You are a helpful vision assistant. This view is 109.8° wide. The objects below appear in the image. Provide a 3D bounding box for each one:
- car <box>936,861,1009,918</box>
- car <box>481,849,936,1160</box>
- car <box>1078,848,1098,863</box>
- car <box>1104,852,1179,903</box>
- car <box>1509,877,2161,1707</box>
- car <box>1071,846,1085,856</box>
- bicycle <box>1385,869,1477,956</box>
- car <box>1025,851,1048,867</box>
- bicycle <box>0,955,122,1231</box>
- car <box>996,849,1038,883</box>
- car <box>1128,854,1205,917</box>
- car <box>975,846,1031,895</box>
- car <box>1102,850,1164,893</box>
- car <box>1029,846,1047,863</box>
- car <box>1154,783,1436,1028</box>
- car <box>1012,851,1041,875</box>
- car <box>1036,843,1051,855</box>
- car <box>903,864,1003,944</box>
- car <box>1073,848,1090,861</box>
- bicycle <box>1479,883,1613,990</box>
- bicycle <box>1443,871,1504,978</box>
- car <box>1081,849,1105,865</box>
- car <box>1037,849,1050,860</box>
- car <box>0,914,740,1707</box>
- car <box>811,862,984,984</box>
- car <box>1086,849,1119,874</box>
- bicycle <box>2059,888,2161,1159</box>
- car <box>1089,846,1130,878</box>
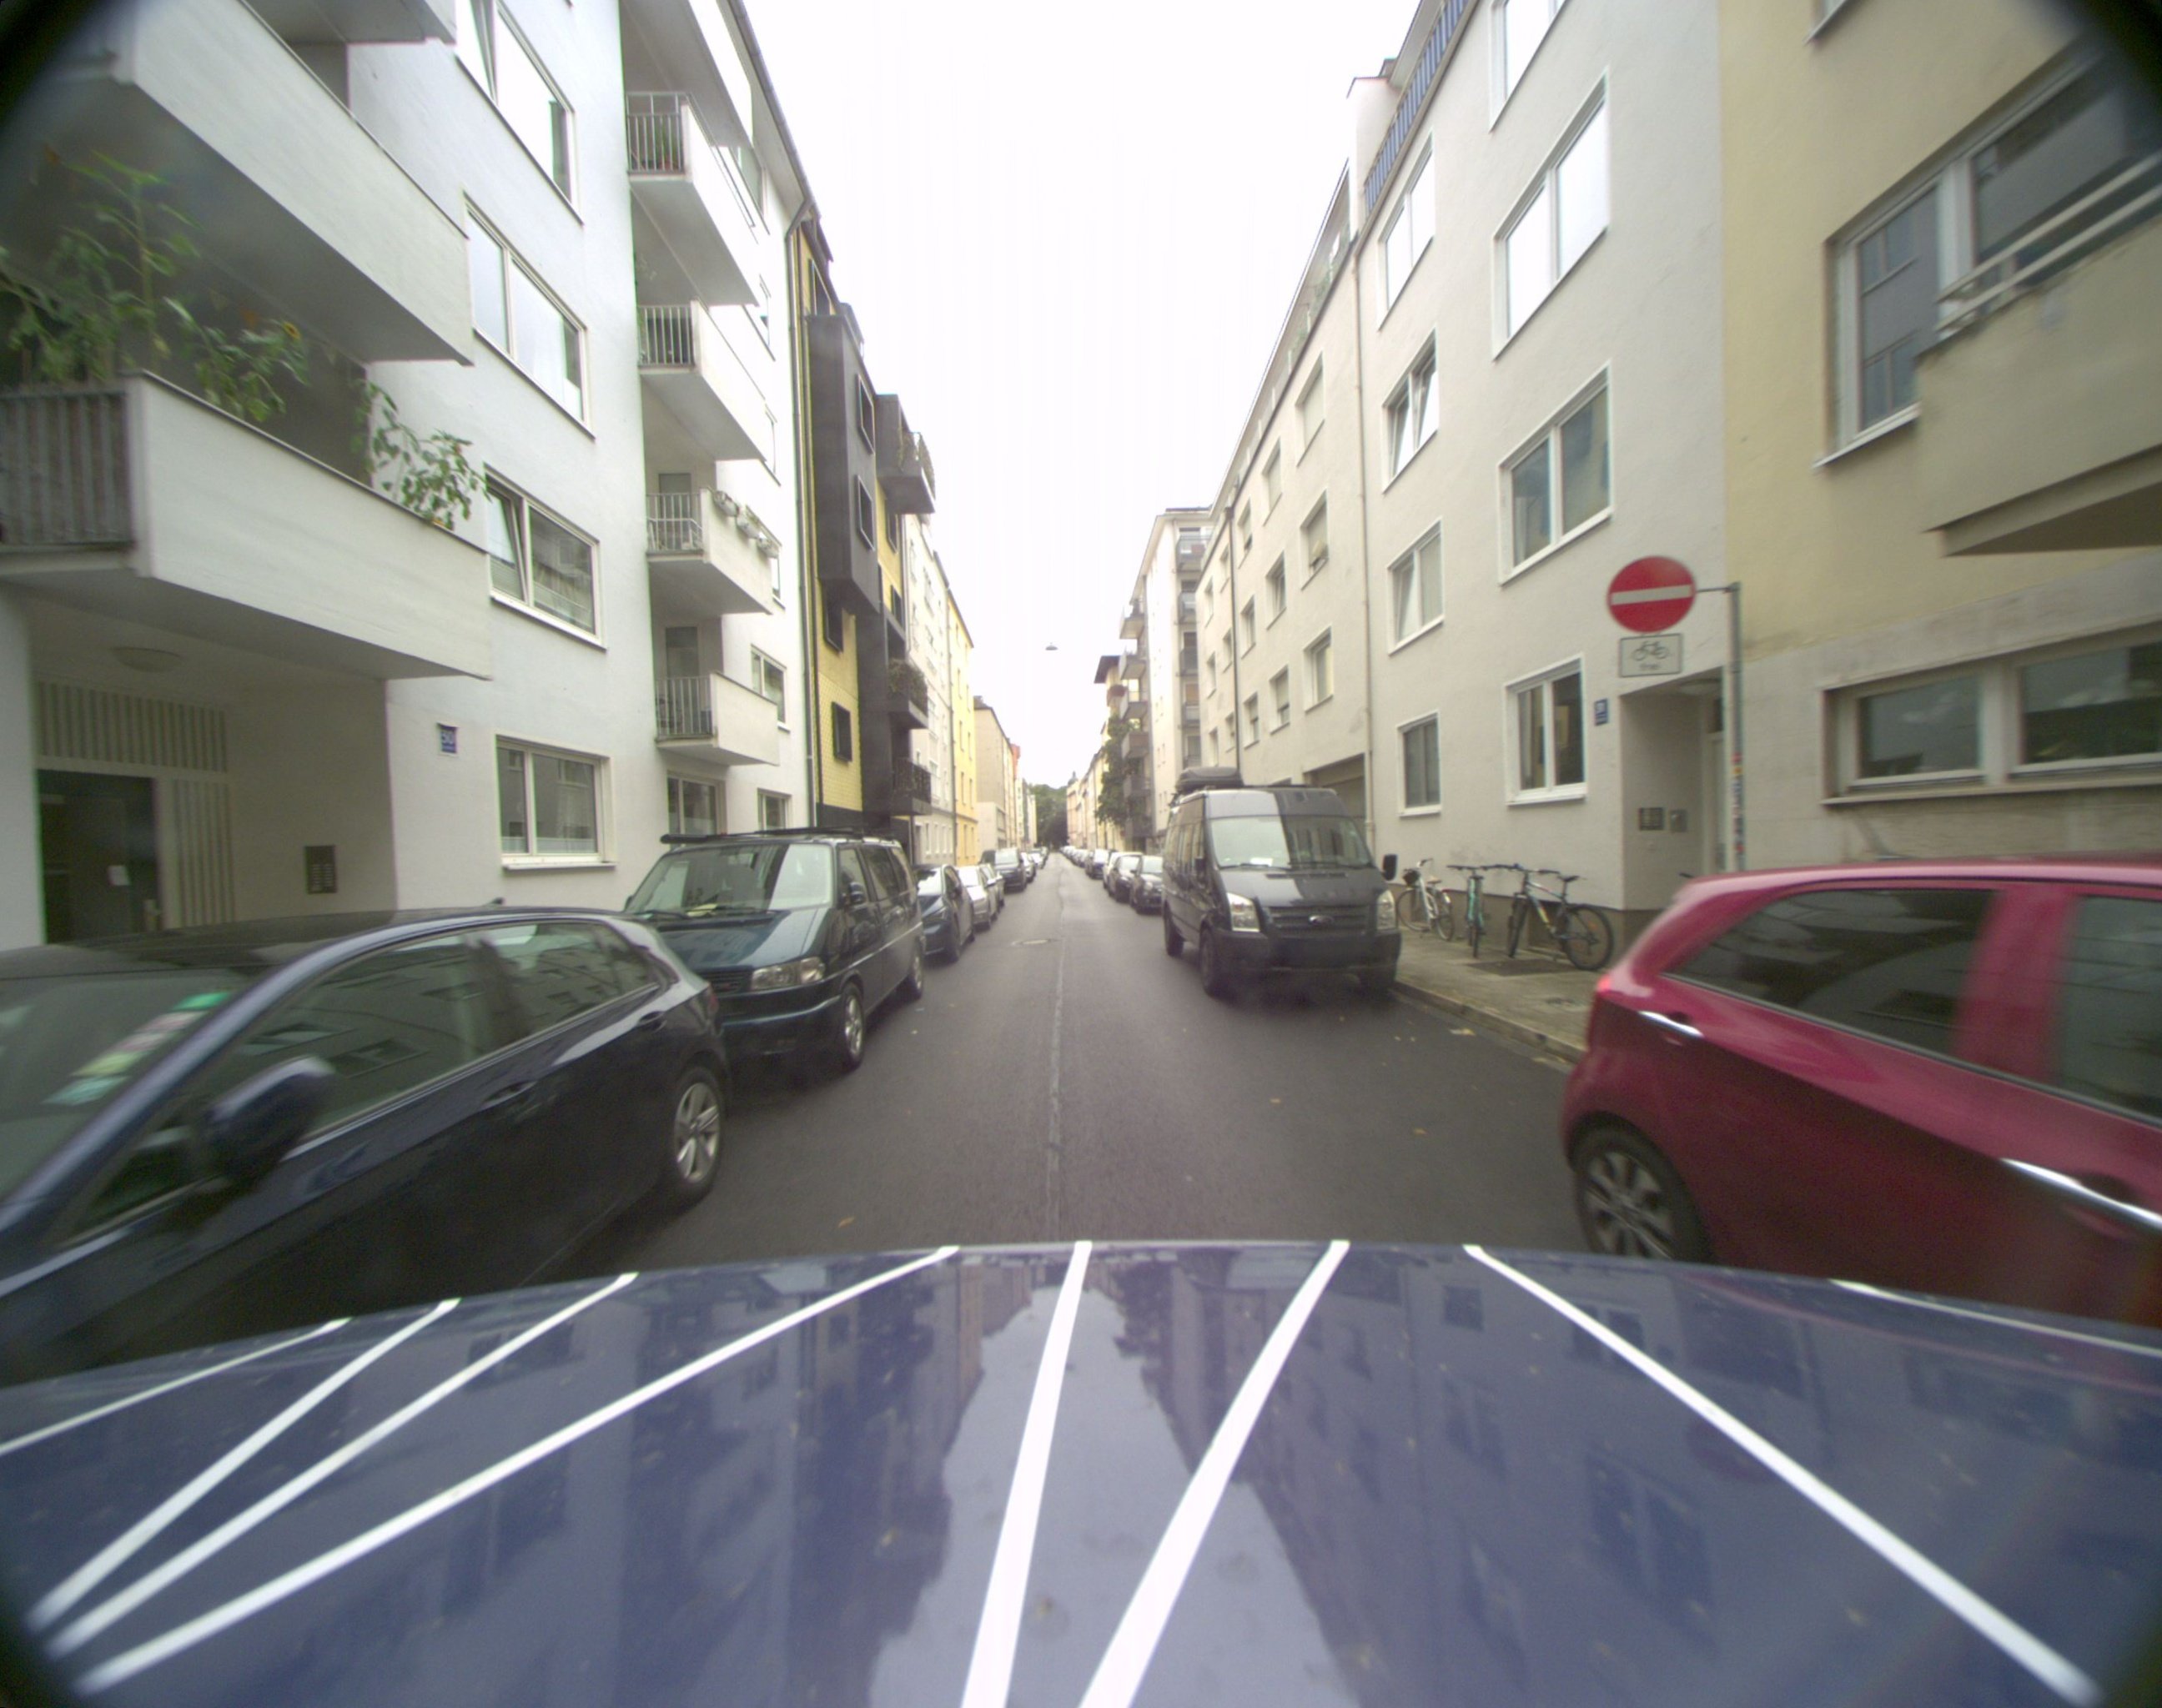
[{"bbox_3d":[-3.173,0.998,22.998,1.739,1.421,4.201,-2,1,-3],"label":"car"},{"bbox_3d":[-2.697,0.892,6.997,1.879,1.781,4.780,-2,1,-2],"label":"car"},{"bbox_3d":[0.672,0.105,79.135,1.896,1.444,4.295,-2,1,-2],"label":"car"},{"bbox_3d":[1.873,0.685,24.764,1.806,1.409,4.224,-2,1,-3],"label":"car"},{"bbox_3d":[2.577,0.878,1.164,1.624,1.488,3.707,-2,1,-2],"label":"car"},{"bbox_3d":[-0.463,-0.455,112.951,1.896,1.444,4.295,-2,1,-2],"label":"car"},{"bbox_3d":[5.102,0.810,11.199,0.464,1.091,1.870,-3,1,0],"label":"bicycle"},{"bbox_3d":[-4.159,0.448,71.480,1.972,1.369,4.295,-2,1,-2],"label":"car"},{"bbox_3d":[-5.279,1.150,2.821,0.625,1.212,2.247,-3,0,-4],"label":"bicycle"},{"bbox_3d":[-3.438,0.604,41.495,1.967,1.665,4.539,-2,1,-2],"label":"car"},{"bbox_3d":[2.175,0.766,20.193,1.615,1.438,3.742,0,1,0],"label":"car"},{"bbox_3d":[-3.355,0.646,33.764,1.988,1.828,5.182,-4,1,-2],"label":"car"},{"bbox_3d":[1.950,0.613,29.861,1.917,1.429,4.807,-2,1,-2],"label":"car"},{"bbox_3d":[-4.894,0.052,86.471,1.896,1.859,4.294,-2,1,-2],"label":"car"},{"bbox_3d":[2.250,0.437,9.749,2.023,2.266,5.389,0,1,-1],"label":"car"},{"bbox_3d":[-3.677,0.564,51.781,1.691,1.496,3.855,-2,1,-2],"label":"car"},{"bbox_3d":[-5.357,-0.759,109.138,1.896,1.621,4.295,-2,1,-2],"label":"car"},{"bbox_3d":[-2.912,1.075,18.171,1.764,1.423,4.259,-5,1,-3],"label":"car"},{"bbox_3d":[0.047,0.038,96.791,1.896,1.444,4.295,-2,1,-2],"label":"car"},{"bbox_3d":[5.071,0.857,8.402,0.490,0.978,1.591,-3,1,0],"label":"bicycle"},{"bbox_3d":[4.772,0.802,9.315,0.463,1.091,1.872,-2,1,22],"label":"bicycle"},{"bbox_3d":[1.037,0.245,68.181,1.972,1.369,4.295,-2,1,-2],"label":"car"},{"bbox_3d":[-5.737,0.056,117.791,1.896,1.621,4.295,-2,1,-2],"label":"car"},{"bbox_3d":[-2.613,1.059,1.820,1.838,1.411,4.057,-2,1,-2],"label":"car"},{"bbox_3d":[-2.892,1.006,13.085,1.911,1.545,4.623,-2,1,-2],"label":"car"},{"bbox_3d":[1.327,0.451,48.939,1.818,1.434,4.295,-2,1,-2],"label":"car"},{"bbox_3d":[4.911,0.748,2.738,0.468,1.142,1.760,-3,1,0],"label":"bicycle"},{"bbox_3d":[1.548,0.419,42.946,1.972,1.598,4.538,-2,1,-2],"label":"car"}]
